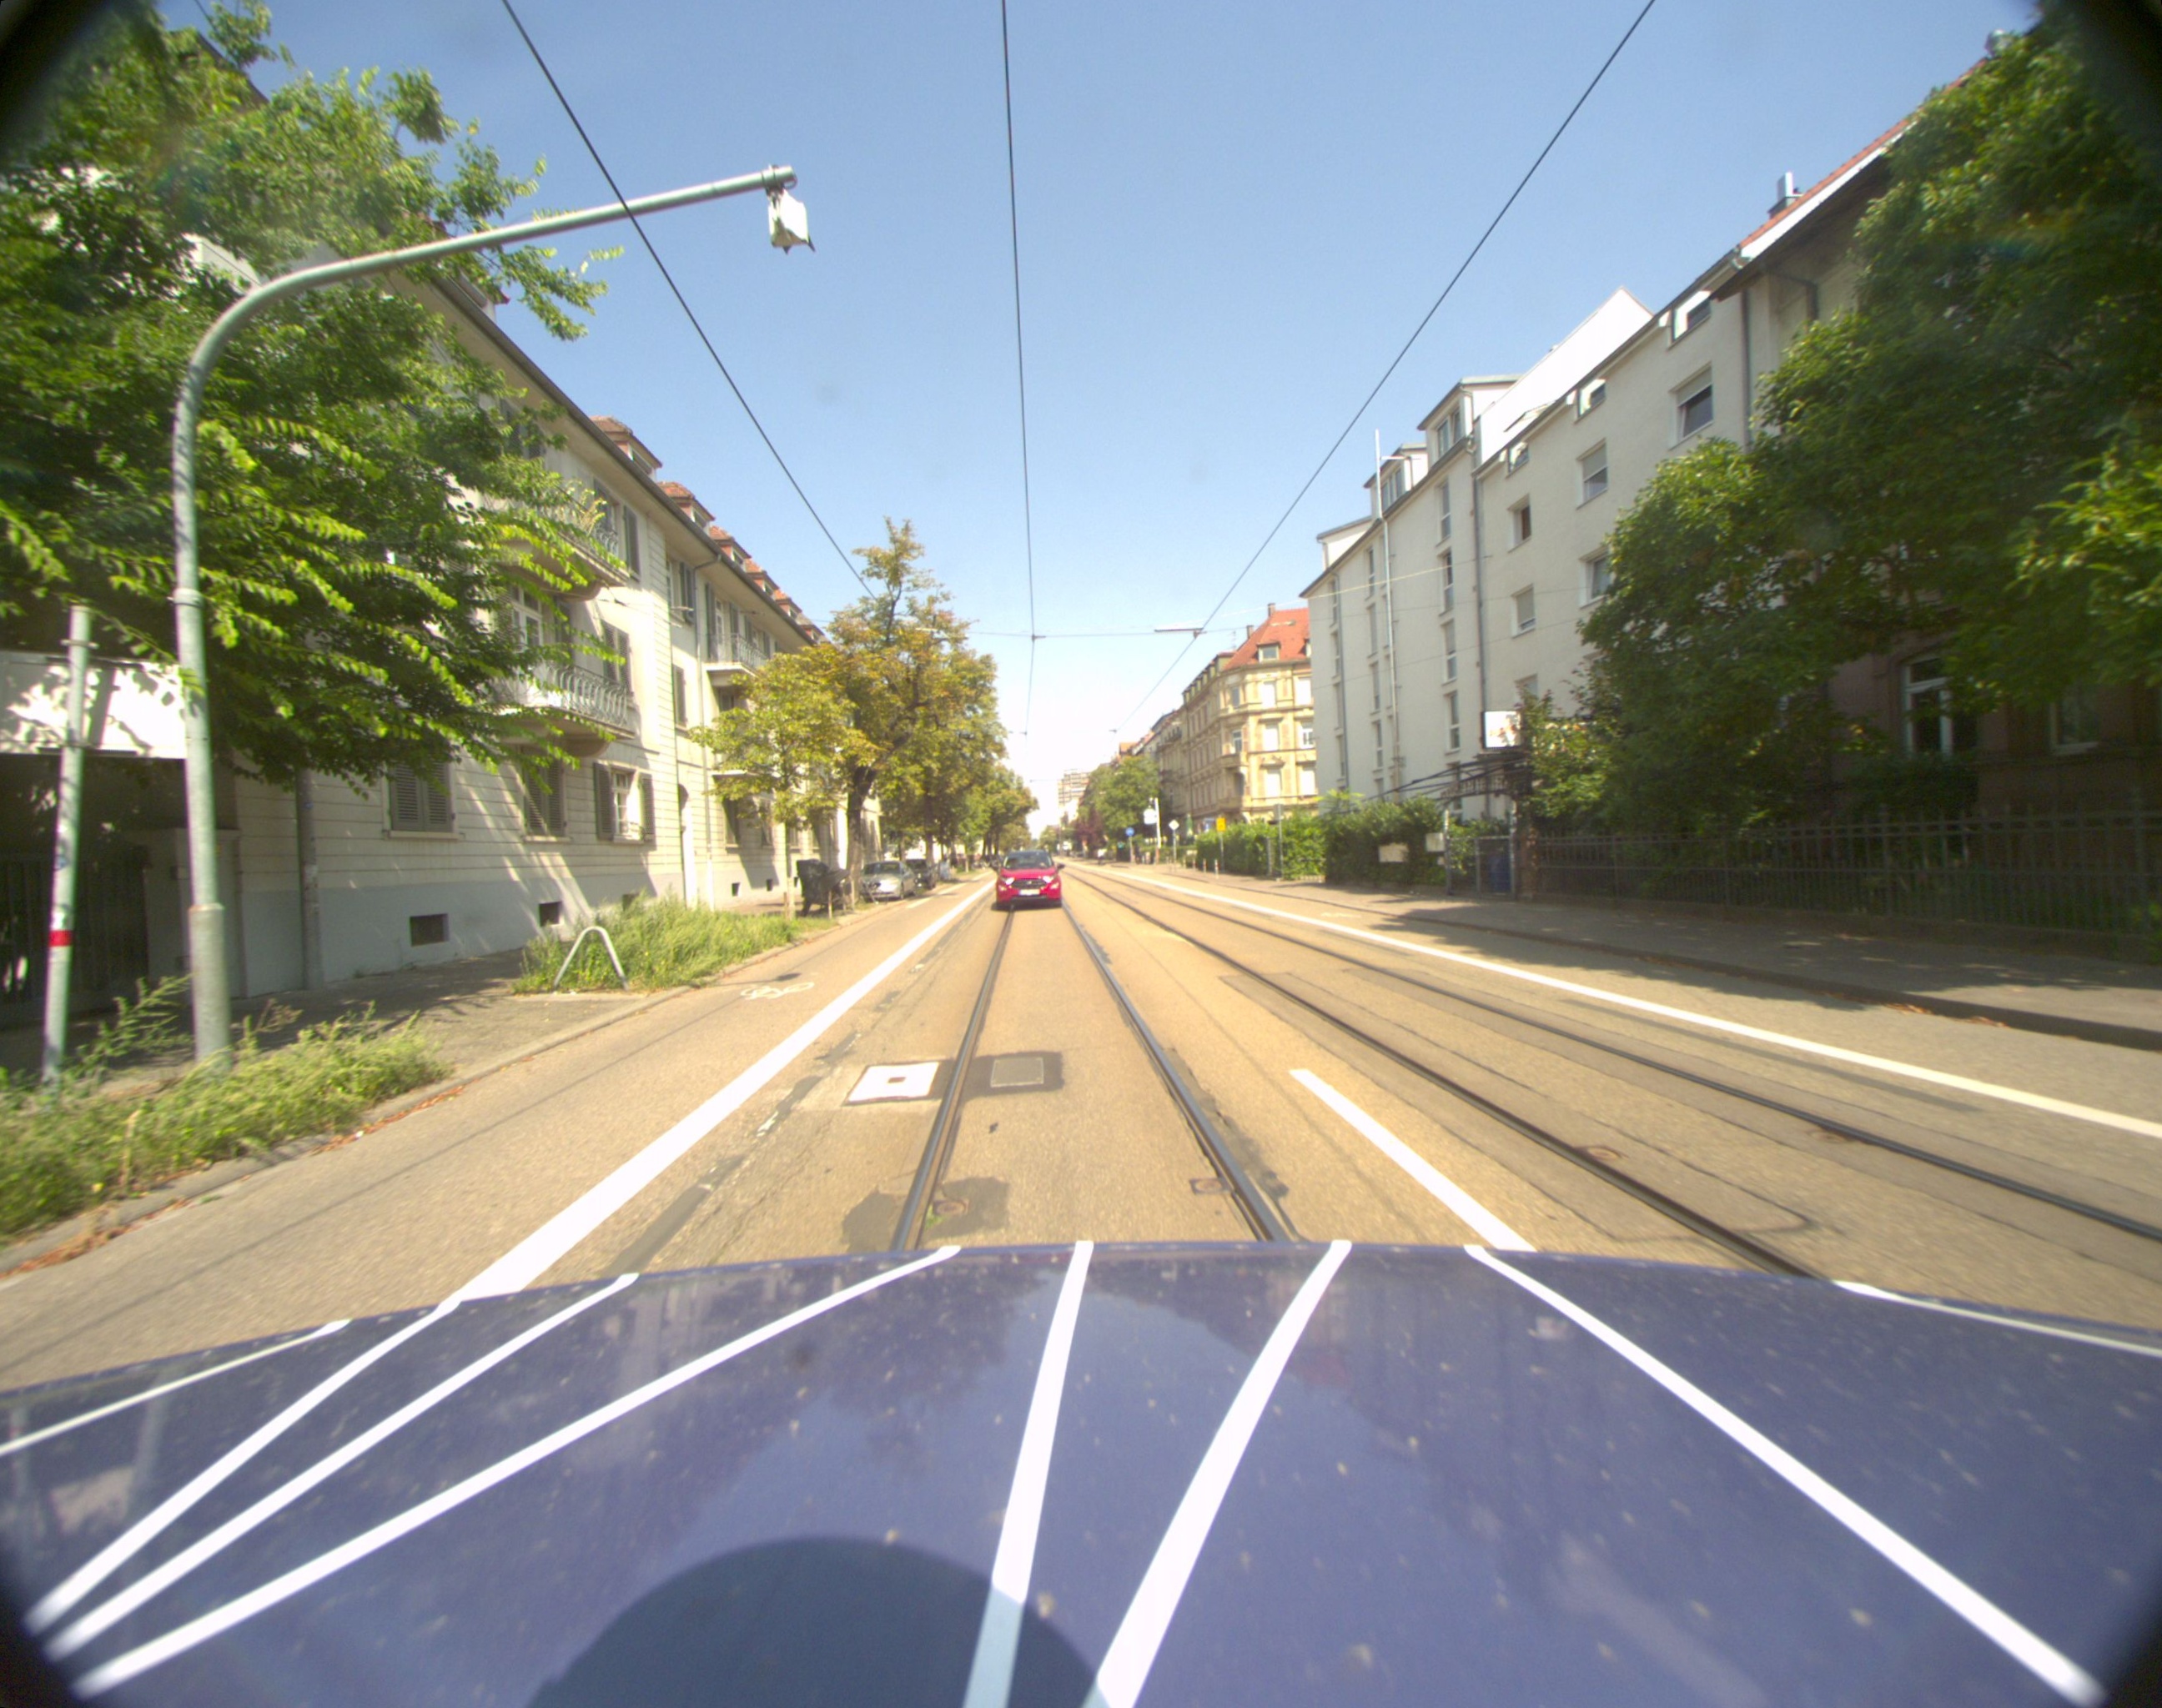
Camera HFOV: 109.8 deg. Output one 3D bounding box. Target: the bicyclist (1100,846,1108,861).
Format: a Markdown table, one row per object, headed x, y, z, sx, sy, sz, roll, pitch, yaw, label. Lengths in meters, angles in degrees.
| x | y | z | sx | sy | sz | roll | pitch | yaw | label |
| --- | --- | --- | --- | --- | --- | --- | --- | --- | --- |
| 2.261 | -0.023 | 75.336 | 0.657 | 1.420 | 0.974 | -2 | 1 | -5 | bicyclist |

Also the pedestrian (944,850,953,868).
| x | y | z | sx | sy | sz | roll | pitch | yaw | label |
| --- | --- | --- | --- | --- | --- | --- | --- | --- | --- |
| -13.455 | 0.479 | 77.192 | 0.749 | 1.775 | 0.632 | -3 | 1 | -3 | pedestrian |

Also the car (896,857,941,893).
| x | y | z | sx | sy | sz | roll | pitch | yaw | label |
| --- | --- | --- | --- | --- | --- | --- | --- | --- | --- |
| -7.712 | 0.943 | 36.382 | 1.668 | 1.498 | 4.431 | -2 | 1 | -8 | car |

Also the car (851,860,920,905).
| x | y | z | sx | sy | sz | roll | pitch | yaw | label |
| --- | --- | --- | --- | --- | --- | --- | --- | --- | --- |
| -7.240 | 0.992 | 28.555 | 1.788 | 1.442 | 4.748 | -2 | 1 | -6 | car |

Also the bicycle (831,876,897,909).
| x | y | z | sx | sy | sz | roll | pitch | yaw | label |
| --- | --- | --- | --- | --- | --- | --- | --- | --- | --- |
| -7.156 | 1.271 | 25.066 | 1.927 | 0.947 | 0.720 | -3 | 1 | 0 | bicycle |

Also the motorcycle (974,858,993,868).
| x | y | z | sx | sy | sz | roll | pitch | yaw | label |
| --- | --- | --- | --- | --- | --- | --- | --- | --- | --- |
| -11.065 | 1.012 | 86.121 | 2.000 | 1.009 | 0.796 | -3 | 1 | -4 | motorcycle |

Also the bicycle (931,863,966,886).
| x | y | z | sx | sy | sz | roll | pitch | yaw | label |
| --- | --- | --- | --- | --- | --- | --- | --- | --- | --- |
| -7.116 | 1.087 | 40.864 | 1.760 | 1.116 | 0.655 | -3 | 1 | -4 | bicycle |

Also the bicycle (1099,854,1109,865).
| x | y | z | sx | sy | sz | roll | pitch | yaw | label |
| --- | --- | --- | --- | --- | --- | --- | --- | --- | --- |
| 2.275 | 0.532 | 75.465 | 0.642 | 1.070 | 1.914 | -2 | 1 | -5 | bicycle |

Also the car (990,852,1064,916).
| x | y | z | sx | sy | sz | roll | pitch | yaw | label |
| --- | --- | --- | --- | --- | --- | --- | --- | --- | --- |
| -1.461 | 0.765 | 21.453 | 1.816 | 1.542 | 4.020 | -3 | 1 | -2 | car |

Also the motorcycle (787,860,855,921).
| x | y | z | sx | sy | sz | roll | pitch | yaw | label |
| --- | --- | --- | --- | --- | --- | --- | --- | --- | --- |
| -7.281 | 0.977 | 21.444 | 0.888 | 1.544 | 2.412 | -2 | 1 | 4 | motorcycle |

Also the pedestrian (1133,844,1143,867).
| x | y | z | sx | sy | sz | roll | pitch | yaw | label |
| --- | --- | --- | --- | --- | --- | --- | --- | --- | --- |
| 5.092 | 0.094 | 67.417 | 0.657 | 2.002 | 0.974 | -2 | 1 | -5 | pedestrian |
